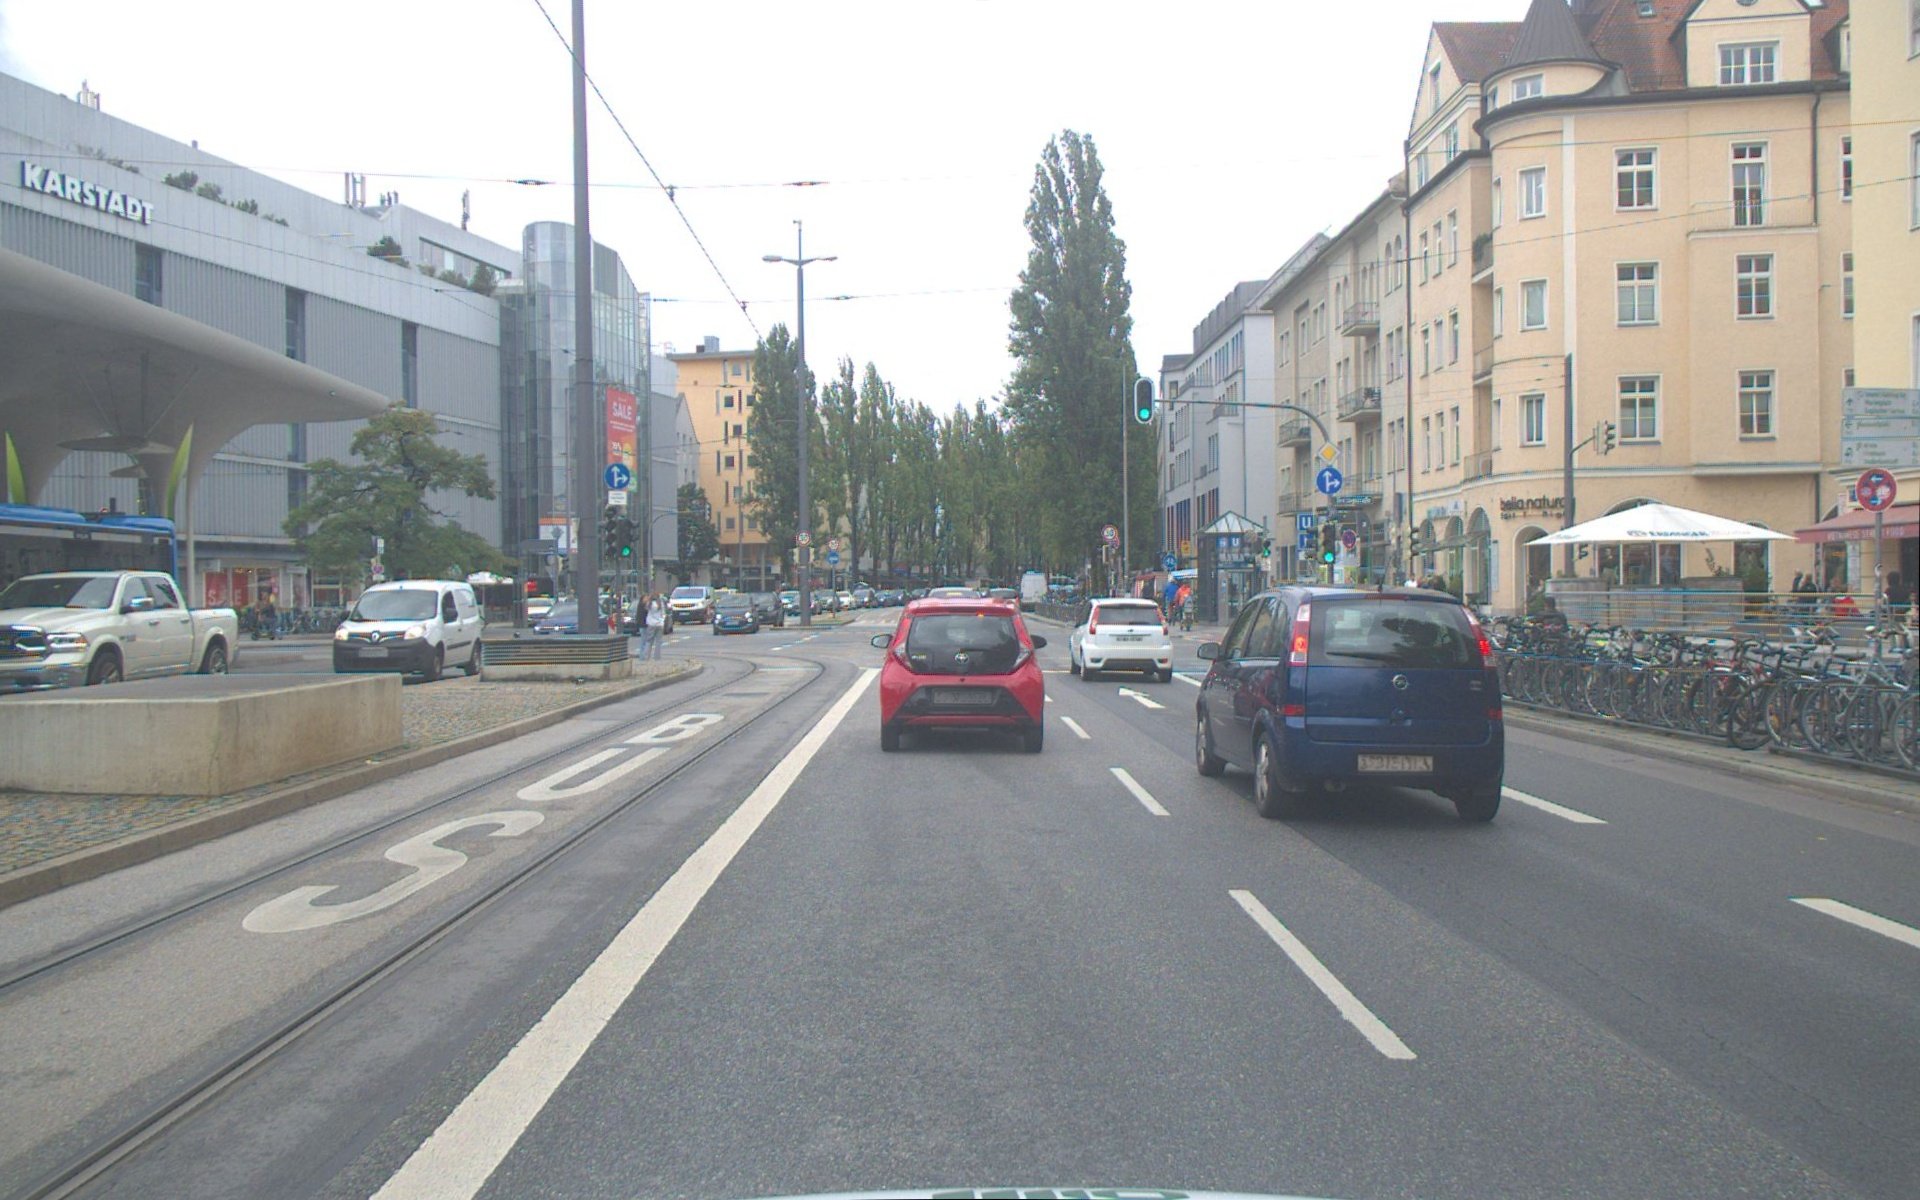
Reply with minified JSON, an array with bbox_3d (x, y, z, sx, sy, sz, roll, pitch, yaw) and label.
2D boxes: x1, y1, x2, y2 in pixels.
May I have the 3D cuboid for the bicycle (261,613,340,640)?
[{"bbox_3d":[-31.033,1.253,77.800,3.419,1.177,1.061,-1,0,12],"label":"bicycle"}]

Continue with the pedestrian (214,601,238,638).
[{"bbox_3d":[-31.823,0.851,71.723,0.626,1.601,0.719,-1,0,30],"label":"pedestrian"}]

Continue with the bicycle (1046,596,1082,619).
[{"bbox_3d":[5.141,0.362,81.809,1.773,1.130,0.583,0,1,43],"label":"bicycle"}]

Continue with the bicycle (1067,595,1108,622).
[{"bbox_3d":[5.559,0.376,72.062,1.770,1.178,0.546,0,0,38],"label":"bicycle"}]

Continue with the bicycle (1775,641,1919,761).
[{"bbox_3d":[8.378,0.910,14.931,1.808,1.013,0.323,1,2,40],"label":"bicycle"}]

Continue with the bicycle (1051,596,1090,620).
[{"bbox_3d":[5.228,0.386,78.306,1.769,1.130,0.649,0,0,37],"label":"bicycle"}]

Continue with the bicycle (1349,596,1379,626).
[{"bbox_3d":[14.922,0.404,61.095,0.485,1.077,1.864,-1,0,-5],"label":"bicycle"}]

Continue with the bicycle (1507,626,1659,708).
[{"bbox_3d":[8.013,0.860,21.337,1.807,1.013,0.346,-2,0,40],"label":"bicycle"}]

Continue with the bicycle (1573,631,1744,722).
[{"bbox_3d":[8.095,0.876,19.229,1.810,1.013,0.346,-2,0,44],"label":"bicycle"}]

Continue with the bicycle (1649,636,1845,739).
[{"bbox_3d":[8.132,0.890,17.158,1.811,1.013,0.345,-2,0,44],"label":"bicycle"}]

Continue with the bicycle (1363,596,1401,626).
[{"bbox_3d":[15.641,0.414,61.361,0.486,1.077,1.859,-1,0,-15],"label":"bicycle"}]

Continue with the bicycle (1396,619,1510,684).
[{"bbox_3d":[7.973,0.824,26.819,1.811,1.013,0.345,-2,0,45],"label":"bicycle"}]

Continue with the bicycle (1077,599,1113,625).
[{"bbox_3d":[5.631,0.496,69.155,0.495,1.046,1.577,-1,1,-42],"label":"bicycle"}]

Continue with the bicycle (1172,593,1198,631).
[{"bbox_3d":[8.034,0.412,59.117,0.601,1.287,2.520,-1,1,0],"label":"bicycle"}]

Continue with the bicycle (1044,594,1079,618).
[{"bbox_3d":[5.097,0.321,83.137,1.805,1.188,0.583,0,1,43],"label":"bicycle"}]

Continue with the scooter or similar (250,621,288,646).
[{"bbox_3d":[-27.969,1.352,66.939,1.371,0.999,0.414,-1,0,0],"label":"scooter or similar"}]

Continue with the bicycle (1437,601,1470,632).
[{"bbox_3d":[18.441,0.609,61.875,0.485,1.108,1.864,-1,0,-6],"label":"bicycle"}]

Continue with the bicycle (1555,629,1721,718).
[{"bbox_3d":[8.124,0.872,19.876,1.807,1.013,0.346,-2,0,40],"label":"bicycle"}]

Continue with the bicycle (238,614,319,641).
[{"bbox_3d":[-31.367,1.256,76.162,3.419,1.177,1.061,-1,0,12],"label":"bicycle"}]

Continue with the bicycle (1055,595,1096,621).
[{"bbox_3d":[5.316,0.377,76.245,1.768,1.178,0.650,0,0,36],"label":"bicycle"}]

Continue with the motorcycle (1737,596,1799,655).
[{"bbox_3d":[16.522,0.503,33.842,0.476,1.176,1.571,-1,0,0],"label":"motorcycle"}]

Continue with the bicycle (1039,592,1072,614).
[{"bbox_3d":[5.088,0.138,88.058,1.805,1.156,0.583,0,1,43],"label":"bicycle"}]

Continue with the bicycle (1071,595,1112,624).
[{"bbox_3d":[5.625,0.399,70.670,1.773,1.219,0.555,0,1,43],"label":"bicycle"}]

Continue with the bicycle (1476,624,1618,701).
[{"bbox_3d":[8.033,0.852,22.676,1.807,1.013,0.346,-2,0,40],"label":"bicycle"}]

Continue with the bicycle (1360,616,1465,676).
[{"bbox_3d":[7.913,0.808,28.975,1.811,1.013,0.345,-2,0,45],"label":"bicycle"}]

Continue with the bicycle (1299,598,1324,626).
[{"bbox_3d":[12.965,0.419,61.079,0.484,0.992,1.866,-1,0,0],"label":"bicycle"}]

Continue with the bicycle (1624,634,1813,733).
[{"bbox_3d":[8.149,0.886,17.823,1.807,1.013,0.346,-2,0,40],"label":"bicycle"}]

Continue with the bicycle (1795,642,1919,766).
[{"bbox_3d":[8.272,0.912,14.354,1.808,1.013,0.323,1,2,40],"label":"bicycle"}]

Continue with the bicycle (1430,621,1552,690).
[{"bbox_3d":[8.102,0.836,25.314,0.345,1.013,1.812,-1,0,-44],"label":"bicycle"}]

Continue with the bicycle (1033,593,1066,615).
[{"bbox_3d":[4.983,0.227,91.746,1.801,1.156,0.584,0,0,36],"label":"bicycle"}]

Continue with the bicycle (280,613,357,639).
[{"bbox_3d":[-30.742,1.251,79.237,3.419,1.177,1.061,-1,0,12],"label":"bicycle"}]

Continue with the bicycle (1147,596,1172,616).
[{"bbox_3d":[9.955,0.294,82.502,1.157,0.980,0.369,-1,0,-2],"label":"bicycle"}]

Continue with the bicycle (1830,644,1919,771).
[{"bbox_3d":[8.216,0.915,13.660,1.811,1.013,0.323,2,2,45],"label":"bicycle"}]

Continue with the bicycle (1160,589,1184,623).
[{"bbox_3d":[8.294,0.212,64.841,0.601,1.287,2.520,-1,1,0],"label":"bicycle"}]

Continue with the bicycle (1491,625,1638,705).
[{"bbox_3d":[8.019,0.856,22.010,1.807,1.013,0.346,-2,0,40],"label":"bicycle"}]

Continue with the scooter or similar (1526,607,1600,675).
[{"bbox_3d":[10.206,0.678,28.042,0.760,1.094,1.256,-1,0,-2],"label":"scooter or similar"}]

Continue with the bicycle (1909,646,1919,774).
[{"bbox_3d":[8.480,0.908,12.933,1.805,1.013,0.324,1,2,37],"label":"bicycle"}]

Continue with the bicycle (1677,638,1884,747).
[{"bbox_3d":[8.097,0.894,16.383,1.811,1.013,0.323,-1,0,44],"label":"bicycle"}]

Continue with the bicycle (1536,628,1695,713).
[{"bbox_3d":[8.116,0.868,20.531,1.807,1.013,0.346,-2,0,40],"label":"bicycle"}]

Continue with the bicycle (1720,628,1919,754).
[{"bbox_3d":[8.228,0.840,15.683,1.803,1.132,0.466,-1,1,32],"label":"bicycle"}]

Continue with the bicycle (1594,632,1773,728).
[{"bbox_3d":[8.075,0.880,18.511,1.810,1.013,0.346,-2,0,44],"label":"bicycle"}]

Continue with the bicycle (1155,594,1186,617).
[{"bbox_3d":[10.042,0.254,78.976,1.389,1.096,0.369,-1,0,0],"label":"bicycle"}]

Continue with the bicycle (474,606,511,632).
[{"bbox_3d":[-20.517,0.835,72.587,1.541,1.131,0.373,0,0,3],"label":"bicycle"}]

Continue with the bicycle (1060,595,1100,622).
[{"bbox_3d":[5.431,0.377,74.869,1.765,1.178,0.486,-1,0,30],"label":"bicycle"}]

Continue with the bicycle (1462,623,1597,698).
[{"bbox_3d":[8.022,0.847,23.363,1.810,1.013,0.346,-2,0,43],"label":"bicycle"}]

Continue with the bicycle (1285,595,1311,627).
[{"bbox_3d":[12.474,0.408,61.092,0.555,1.127,1.866,-1,0,0],"label":"bicycle"}]

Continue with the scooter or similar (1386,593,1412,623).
[{"bbox_3d":[15.285,0.266,57.604,0.803,1.011,0.593,0,4,22],"label":"scooter or similar"}]

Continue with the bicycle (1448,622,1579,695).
[{"bbox_3d":[8.016,0.843,24.028,1.810,1.013,0.346,-2,0,43],"label":"bicycle"}]

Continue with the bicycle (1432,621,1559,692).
[{"bbox_3d":[7.997,0.838,24.745,1.810,1.013,0.346,-2,0,43],"label":"bicycle"}]
